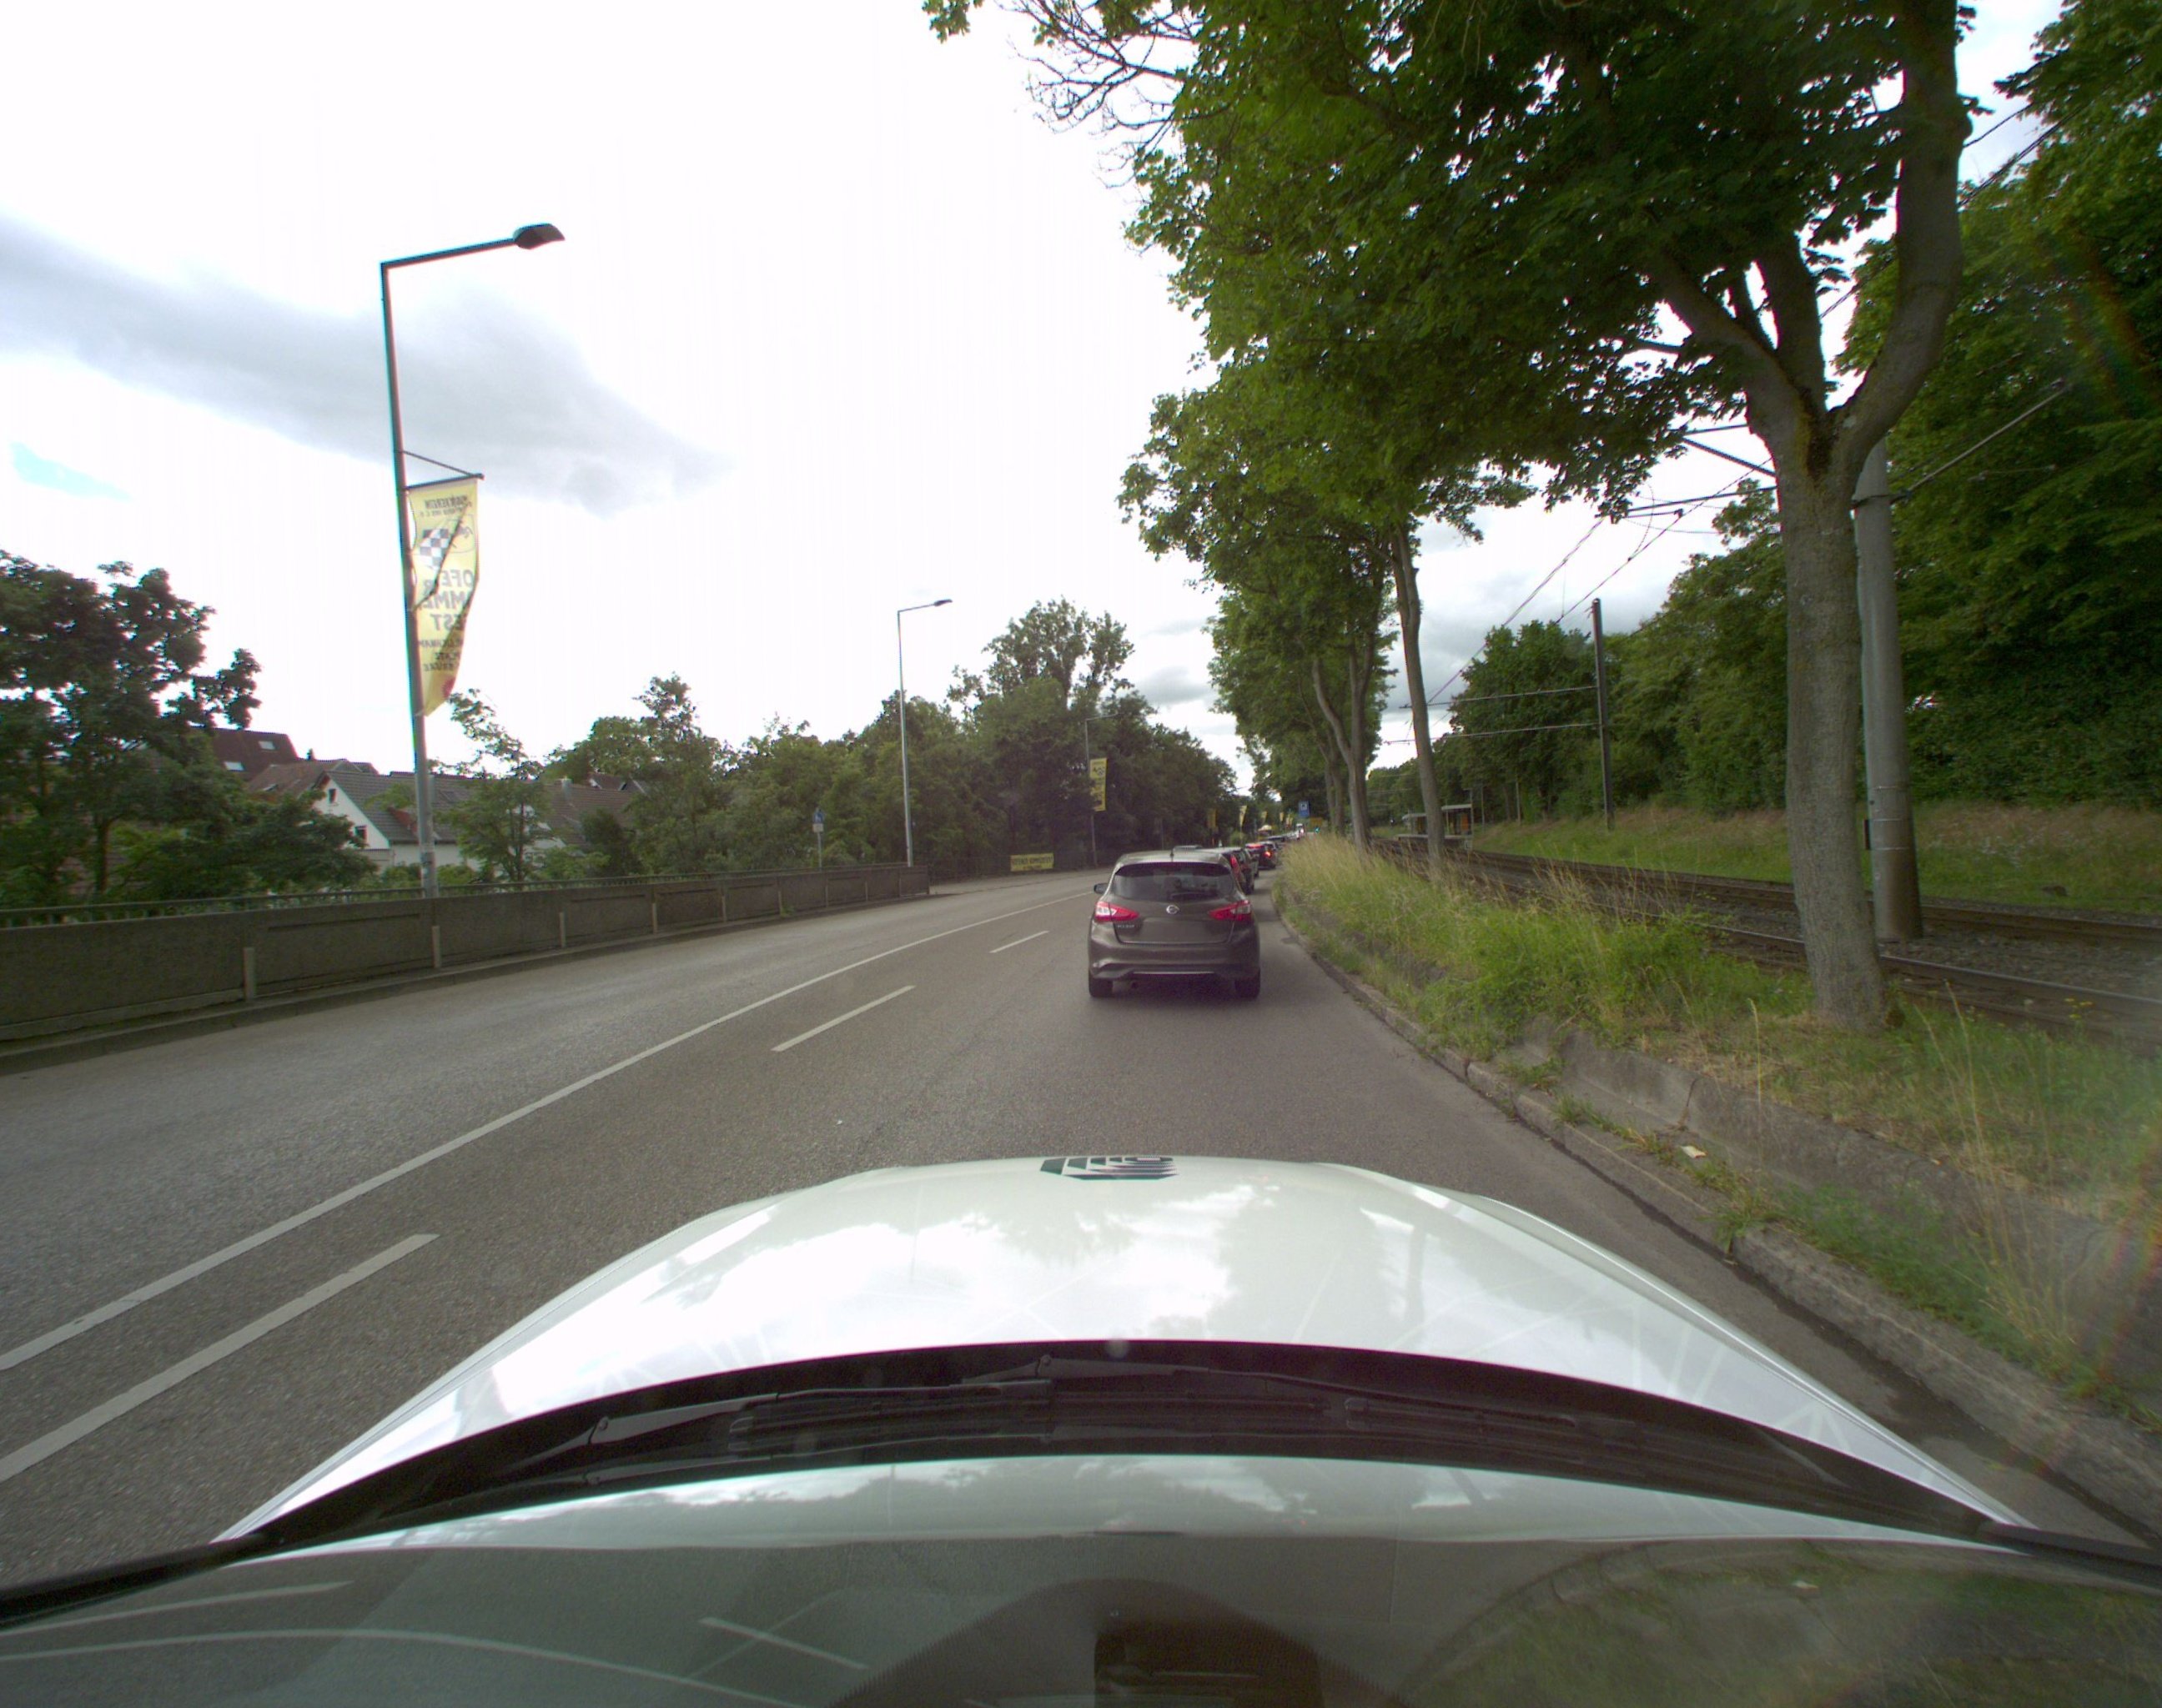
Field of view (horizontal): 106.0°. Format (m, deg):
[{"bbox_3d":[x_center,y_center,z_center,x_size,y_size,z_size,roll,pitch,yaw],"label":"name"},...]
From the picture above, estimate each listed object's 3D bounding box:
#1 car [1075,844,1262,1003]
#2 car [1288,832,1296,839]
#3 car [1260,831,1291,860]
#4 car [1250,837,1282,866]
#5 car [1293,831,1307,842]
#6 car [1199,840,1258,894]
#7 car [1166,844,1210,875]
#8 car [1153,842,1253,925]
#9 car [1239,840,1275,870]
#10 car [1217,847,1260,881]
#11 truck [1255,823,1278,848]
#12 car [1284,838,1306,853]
[{"bbox_3d":[1.187,0.683,9.763,1.763,1.494,4.012,-1,-1,10],"label":"car"},{"bbox_3d":[53.118,-4.687,205.186,1.803,1.462,4.018,-3,0,17],"label":"car"},{"bbox_3d":[14.533,-0.636,60.770,1.876,2.013,4.018,-2,0,17],"label":"car"},{"bbox_3d":[11.647,-0.175,51.213,1.705,1.693,4.017,-3,0,15],"label":"car"},{"bbox_3d":[33.447,-2.652,124.478,1.876,1.653,4.018,-2,0,17],"label":"car"},{"bbox_3d":[4.836,0.398,26.388,1.567,1.538,4.015,-3,-1,13],"label":"car"},{"bbox_3d":[5.644,0.276,42.640,1.839,1.486,4.435,-3,-1,12],"label":"car"},{"bbox_3d":[2.714,0.604,17.914,1.881,1.574,4.011,-2,-1,10],"label":"car"},{"bbox_3d":[9.583,0.076,44.163,1.792,1.540,4.014,-1,0,13],"label":"car"},{"bbox_3d":[7.009,0.396,36.016,1.489,1.364,3.602,-3,-1,16],"label":"car"},{"bbox_3d":[31.258,-3.015,136.827,2.633,3.938,10.159,-2,0,18],"label":"truck"},{"bbox_3d":[21.752,-0.876,82.675,1.876,1.445,3.824,-2,0,17],"label":"car"}]
